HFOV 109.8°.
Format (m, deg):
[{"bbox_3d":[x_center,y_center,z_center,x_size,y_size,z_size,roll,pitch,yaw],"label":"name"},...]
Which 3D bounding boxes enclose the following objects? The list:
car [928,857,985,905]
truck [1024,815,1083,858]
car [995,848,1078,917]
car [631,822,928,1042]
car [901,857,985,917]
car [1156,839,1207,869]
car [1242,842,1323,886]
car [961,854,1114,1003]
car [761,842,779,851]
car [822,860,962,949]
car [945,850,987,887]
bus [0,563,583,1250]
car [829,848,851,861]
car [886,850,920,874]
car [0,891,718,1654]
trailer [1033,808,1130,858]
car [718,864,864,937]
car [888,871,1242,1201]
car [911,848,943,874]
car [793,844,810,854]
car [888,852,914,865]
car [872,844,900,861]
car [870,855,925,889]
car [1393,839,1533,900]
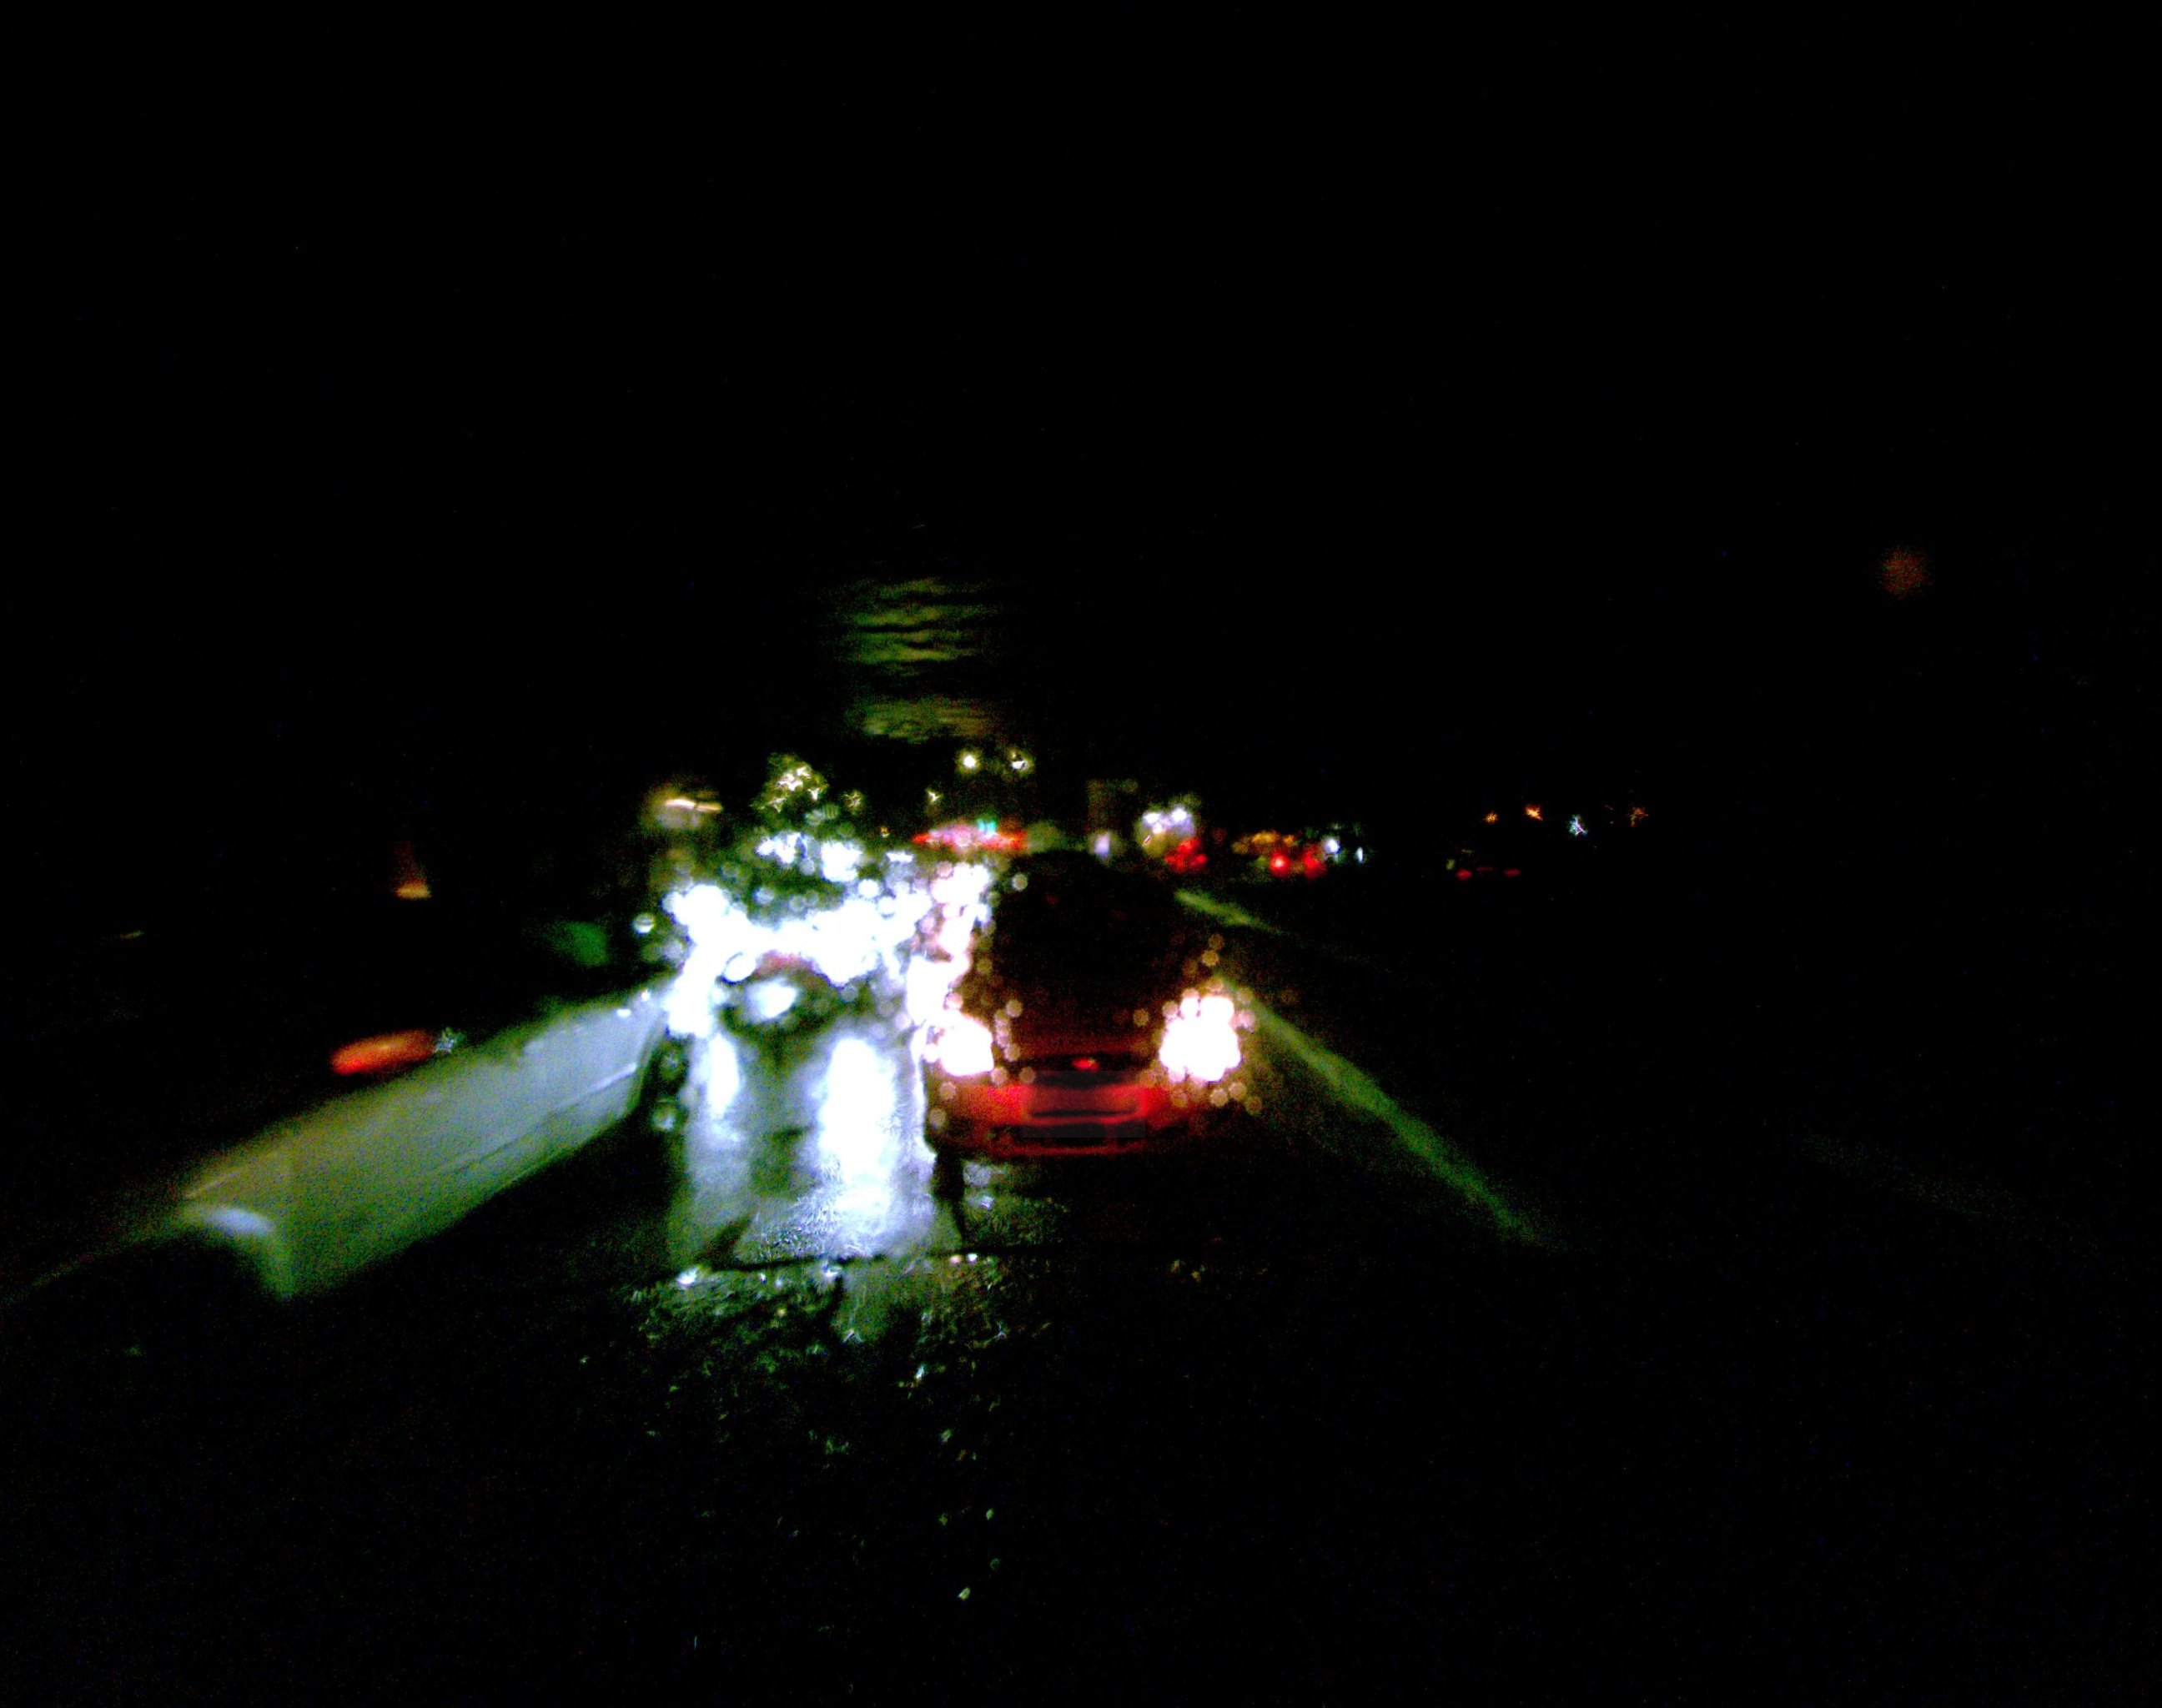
[{"bbox_3d":[-4.382,0.902,27.220,1.683,1.463,3.998,-2,1,-5],"label":"car"},{"bbox_3d":[-2.878,-1.759,77.778,3.973,4.152,6.364,-3,1,-22],"label":"truck"},{"bbox_3d":[-1.111,0.643,19.723,1.881,1.534,3.999,-2,1,-2],"label":"car"},{"bbox_3d":[-3.370,0.743,9.598,1.999,2.076,4.347,-2,1,-1],"label":"car"},{"bbox_3d":[-3.922,0.885,22.192,1.629,1.494,3.999,-2,1,1],"label":"car"},{"bbox_3d":[6.235,-0.038,47.890,1.971,1.731,4.915,-2,1,-7],"label":"car"},{"bbox_3d":[8.697,0.386,33.220,1.909,1.731,4.395,-2,1,-6],"label":"car"},{"bbox_3d":[-0.467,0.847,10.638,1.683,1.591,3.996,-2,1,1],"label":"car"},{"bbox_3d":[-58.373,-1.404,142.686,1.886,1.463,3.989,-3,1,-39],"label":"car"},{"bbox_3d":[-3.741,0.939,15.760,1.869,1.503,3.766,-2,1,1],"label":"car"},{"bbox_3d":[-5.387,0.658,36.066,1.743,1.581,3.997,-2,1,-6],"label":"car"},{"bbox_3d":[-6.270,0.268,2.485,2.776,3.105,9.761,-2,0,0],"label":"bus"},{"bbox_3d":[-28.735,0.058,90.570,1.884,1.463,3.992,-3,1,-25],"label":"car"},{"bbox_3d":[-11.537,0.520,49.531,1.854,1.447,4.498,-1,0,-10],"label":"car"},{"bbox_3d":[-3.187,1.000,2.699,1.792,1.359,3.999,-2,2,0],"label":"car"},{"bbox_3d":[-0.286,-1.788,71.381,3.973,4.152,13.894,-3,1,-22],"label":"trailer"},{"bbox_3d":[-7.182,1.080,19.384,1.842,1.469,4.628,-2,1,1],"label":"car"},{"bbox_3d":[-0.047,0.903,5.528,1.603,1.360,3.942,-2,1,1],"label":"car"},{"bbox_3d":[-12.861,0.560,63.339,2.002,2.002,3.993,-3,1,-19],"label":"car"},{"bbox_3d":[-45.565,-0.796,123.879,1.885,1.463,3.991,-3,1,-29],"label":"car"},{"bbox_3d":[-21.468,0.580,90.549,1.857,1.476,4.475,-1,0,-29],"label":"car"},{"bbox_3d":[-17.772,-0.146,69.087,1.856,1.423,4.492,-3,2,-22],"label":"car"},{"bbox_3d":[-8.541,0.798,35.748,1.853,1.476,4.627,-1,0,-6],"label":"car"},{"bbox_3d":[12.293,0.436,24.833,1.859,1.739,4.503,-2,1,-7],"label":"car"}]
